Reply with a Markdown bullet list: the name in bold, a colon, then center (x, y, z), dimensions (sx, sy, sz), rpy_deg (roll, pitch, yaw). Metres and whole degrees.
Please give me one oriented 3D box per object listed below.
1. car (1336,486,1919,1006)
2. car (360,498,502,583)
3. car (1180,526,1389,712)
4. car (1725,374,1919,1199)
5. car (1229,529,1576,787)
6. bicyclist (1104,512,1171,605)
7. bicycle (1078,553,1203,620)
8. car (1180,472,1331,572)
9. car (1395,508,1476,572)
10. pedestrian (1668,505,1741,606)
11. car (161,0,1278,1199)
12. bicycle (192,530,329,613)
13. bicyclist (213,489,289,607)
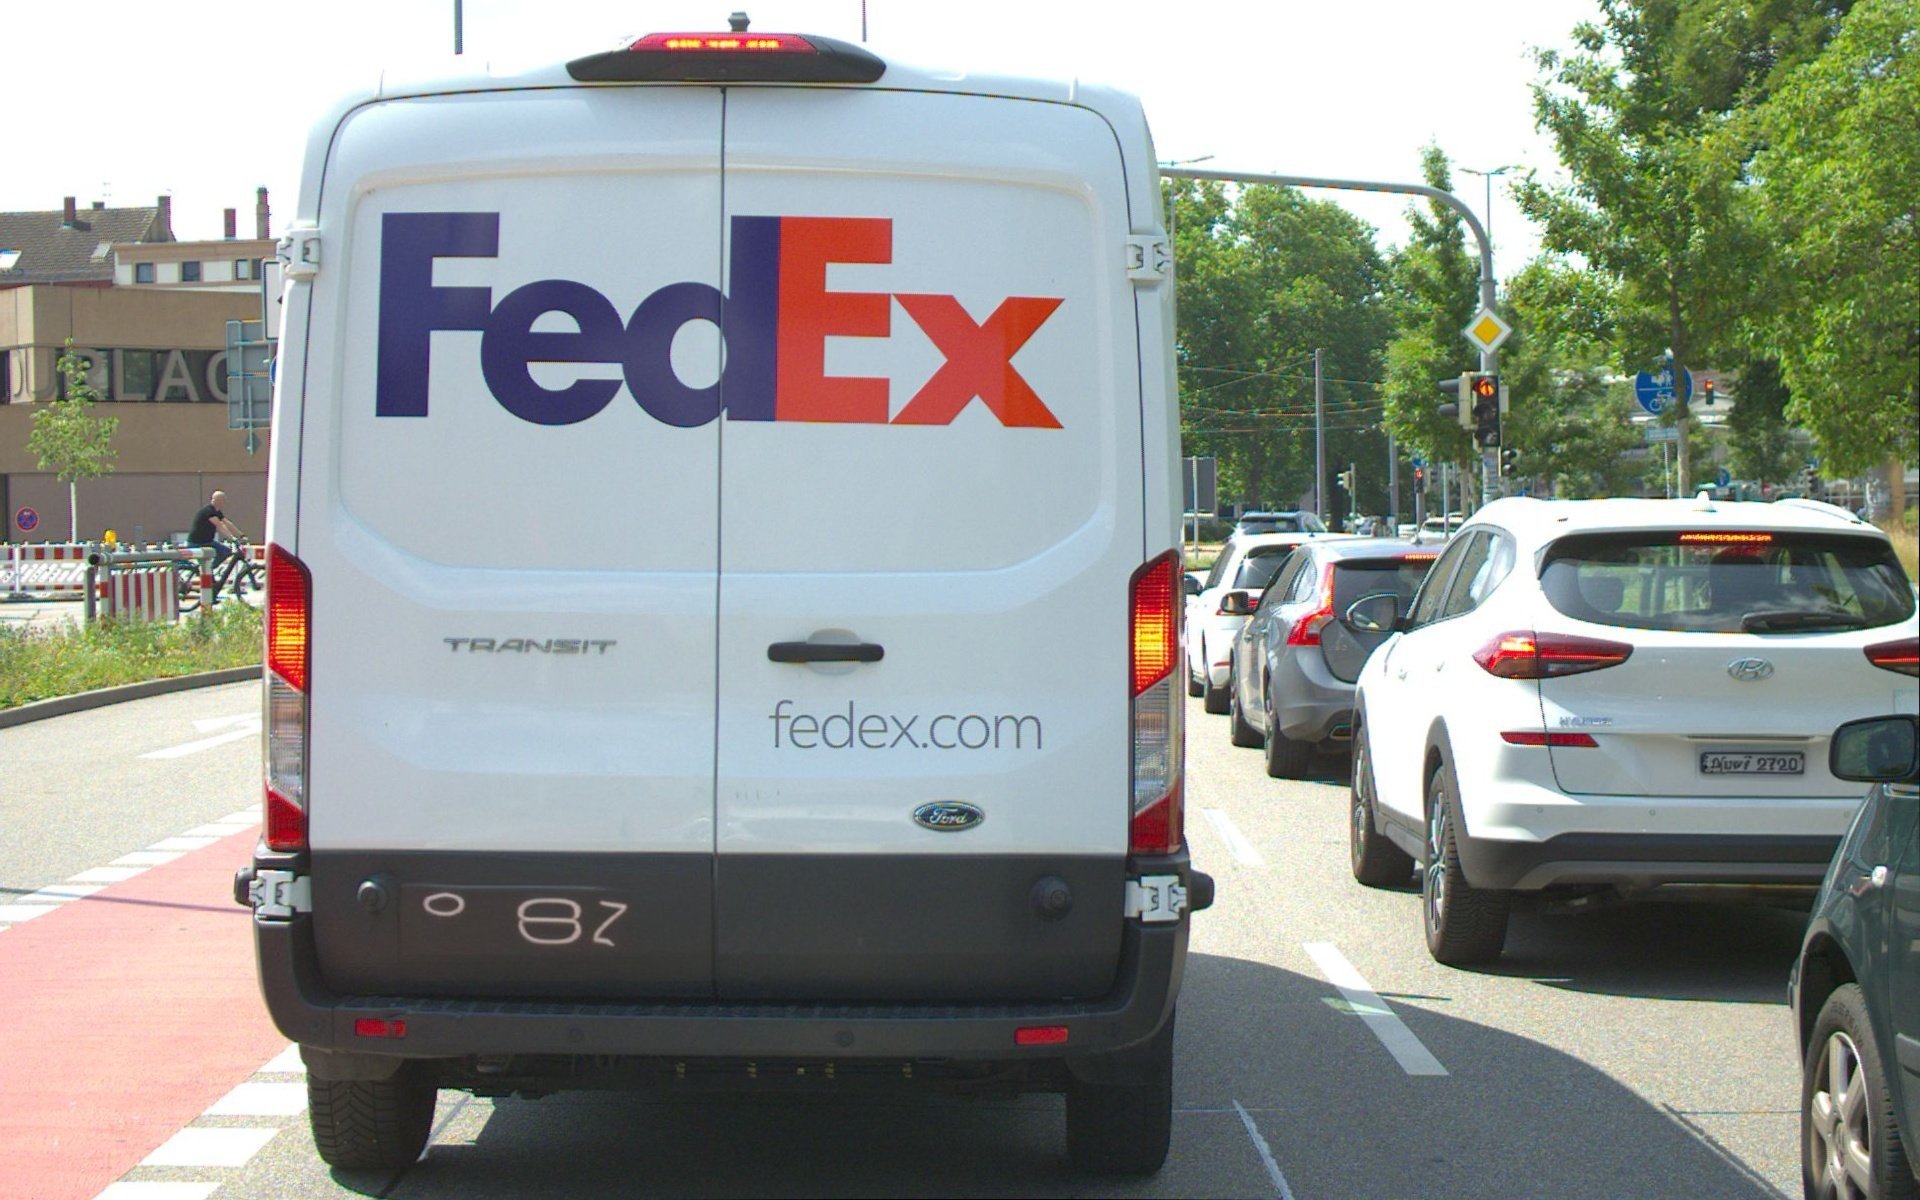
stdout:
- **car**: center (2.516, 0.422, 13.152), dimensions (1.798, 1.681, 4.000), rpy_deg (0, 2, 1)
- **car**: center (-12.812, -1.440, 83.453), dimensions (1.995, 2.007, 3.998), rpy_deg (-1, 1, 14)
- **car**: center (2.639, 0.110, 28.519), dimensions (1.484, 1.423, 3.433), rpy_deg (0, 2, 1)
- **car**: center (2.560, 0.503, 5.089), dimensions (1.812, 1.728, 4.389), rpy_deg (0, 2, -1)
- **car**: center (2.716, 0.299, 21.861), dimensions (1.798, 1.456, 3.838), rpy_deg (0, 2, 1)
- **bicyclist**: center (2.819, -0.666, 54.757), dimensions (0.967, 1.469, 0.551), rpy_deg (-1, 1, -7)
- **bicycle**: center (2.872, -0.222, 54.770), dimensions (1.920, 1.027, 0.548), rpy_deg (-1, 1, -7)
- **car**: center (6.280, -1.633, 72.697), dimensions (2.095, 2.007, 4.639), rpy_deg (0, 1, 19)
- **car**: center (13.757, -1.722, 99.237), dimensions (1.994, 1.787, 4.369), rpy_deg (-1, 1, 12)
- **pedestrian**: center (10.378, -0.622, 47.917), dimensions (0.845, 1.384, 0.741), rpy_deg (-1, 1, -1)
- **car**: center (-0.584, -0.038, 9.467), dimensions (2.140, 2.643, 5.705), rpy_deg (0, 1, -3)
- **bicycle**: center (-11.002, -0.454, 54.134), dimensions (2.064, 1.285, 0.604), rpy_deg (-1, 1, -8)
- **bicyclist**: center (-11.153, -0.827, 54.115), dimensions (1.119, 1.838, 0.593), rpy_deg (-1, 2, -8)
